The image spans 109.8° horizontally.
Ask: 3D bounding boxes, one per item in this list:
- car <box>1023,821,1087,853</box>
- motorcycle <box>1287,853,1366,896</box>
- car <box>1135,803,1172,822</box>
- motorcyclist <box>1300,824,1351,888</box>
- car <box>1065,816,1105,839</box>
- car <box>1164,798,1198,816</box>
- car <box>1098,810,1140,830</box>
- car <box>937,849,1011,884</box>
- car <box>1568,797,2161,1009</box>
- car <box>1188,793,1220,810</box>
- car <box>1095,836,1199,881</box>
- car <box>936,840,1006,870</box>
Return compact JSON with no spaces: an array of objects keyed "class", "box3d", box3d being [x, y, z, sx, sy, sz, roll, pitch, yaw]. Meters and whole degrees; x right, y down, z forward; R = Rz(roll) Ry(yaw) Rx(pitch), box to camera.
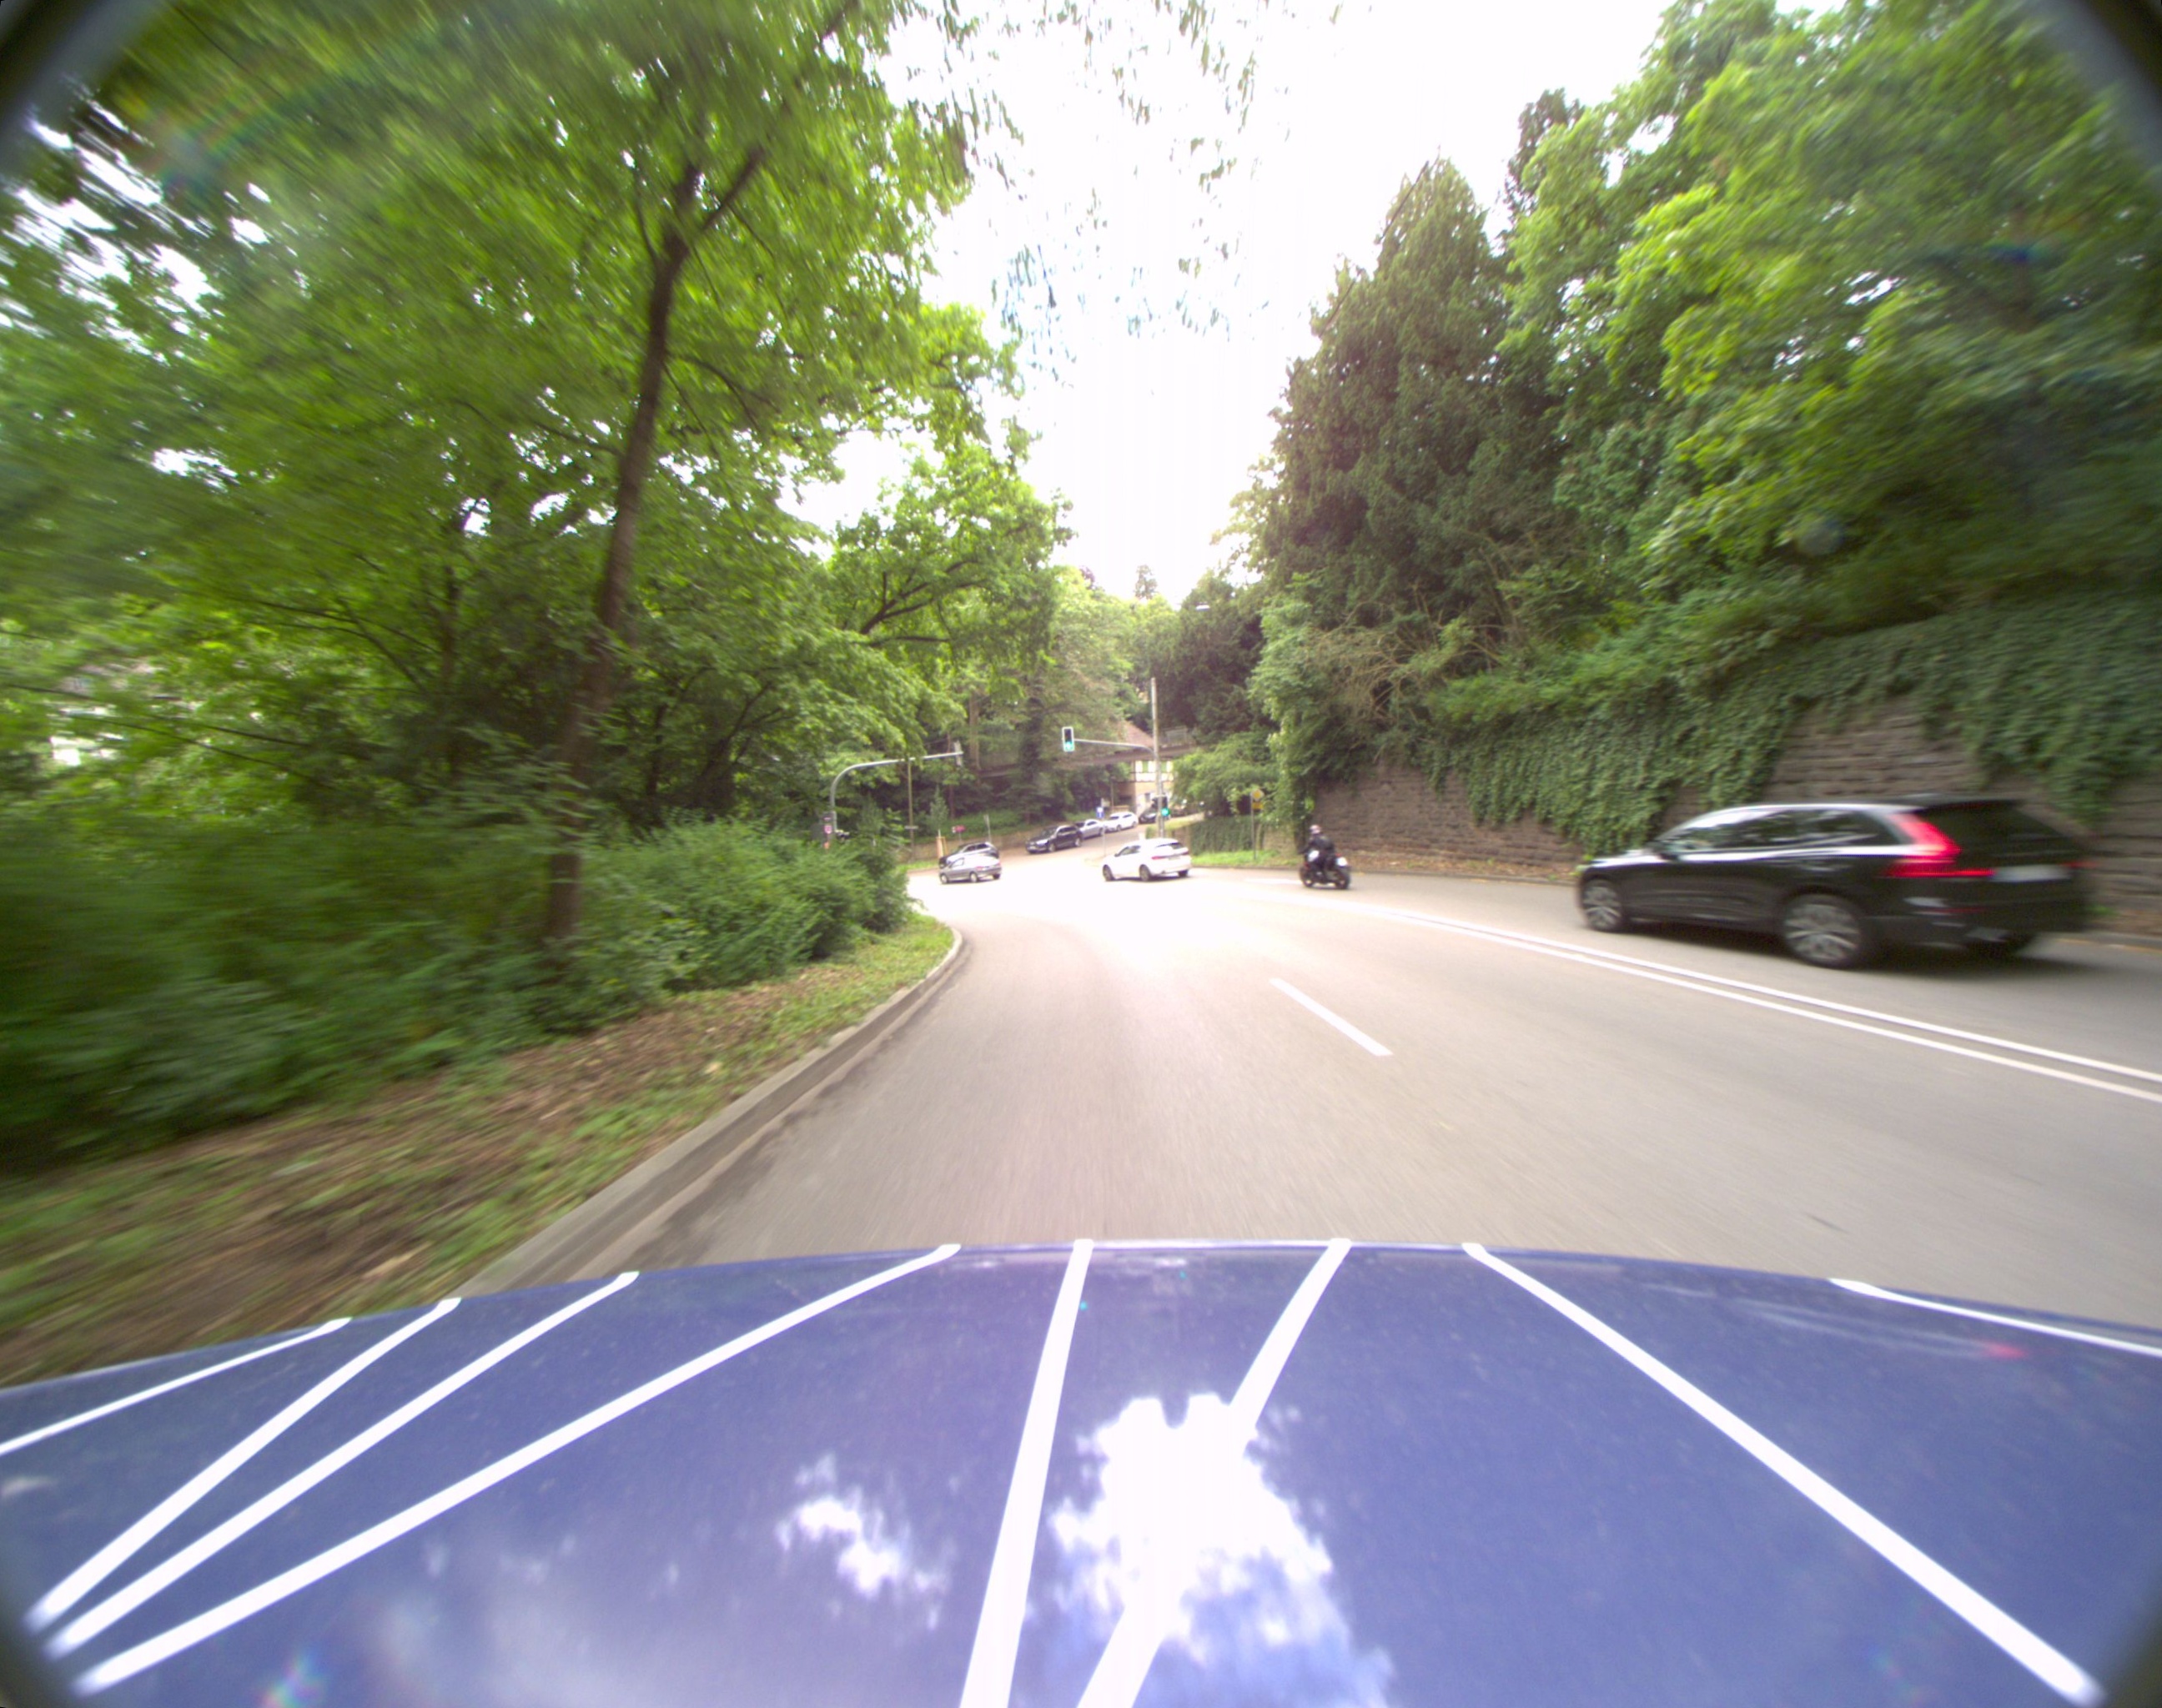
[{"class":"car","box3d":[-1.800,-1.224,54.179,1.803,1.676,4.547,-2,7,40]},{"class":"motorcycle","box3d":[6.097,0.478,19.031,0.811,0.885,2.426,-3,2,-10]},{"class":"car","box3d":[6.758,-3.859,70.548,1.598,1.323,3.915,0,9,36]},{"class":"motorcyclist","box3d":[6.078,0.042,18.937,0.749,1.521,1.093,-3,2,-10]},{"class":"car","box3d":[0.360,-2.132,61.378,1.501,1.441,3.268,0,10,34]},{"class":"car","box3d":[9.858,-4.577,74.474,1.598,1.323,3.915,0,9,36]},{"class":"car","box3d":[3.334,-2.978,66.093,1.624,1.323,4.027,1,9,36]},{"class":"car","box3d":[-5.578,0.660,39.458,3.745,1.410,1.613,-4,4,42]},{"class":"car","box3d":[7.910,0.358,8.489,1.855,1.640,4.509,-3,1,-3]},{"class":"car","box3d":[12.678,-5.412,78.207,1.598,1.323,3.915,0,9,36]},{"class":"car","box3d":[2.383,0.150,28.650,1.754,1.408,4.320,-6,3,-27]},{"class":"car","box3d":[-7.106,0.027,49.165,4.004,1.352,1.749,-11,7,-35]}]
